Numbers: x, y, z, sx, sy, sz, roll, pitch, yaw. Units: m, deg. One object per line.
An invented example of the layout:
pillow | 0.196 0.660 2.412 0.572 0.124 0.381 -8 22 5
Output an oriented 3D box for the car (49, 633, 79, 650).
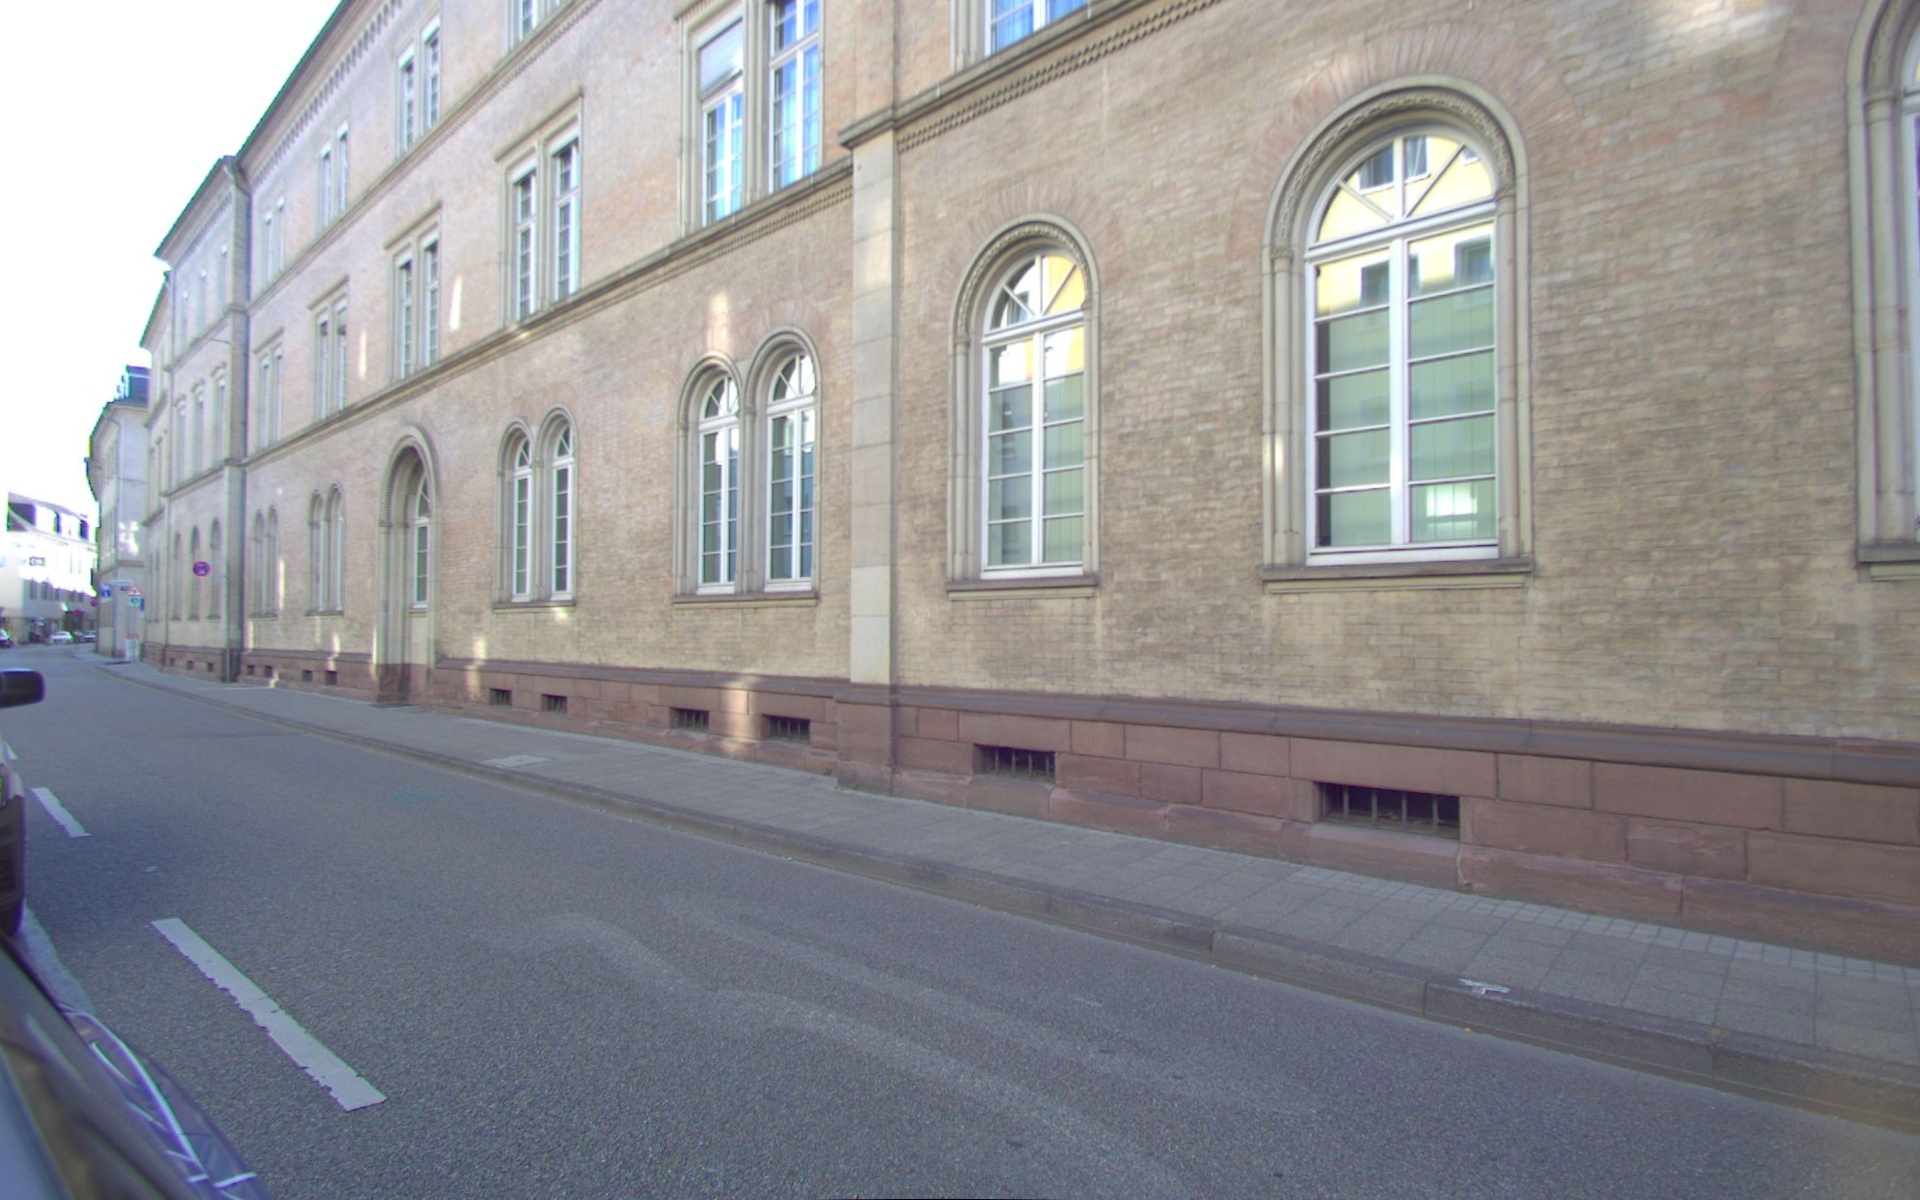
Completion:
car | -102.849 4.746 116.174 1.966 1.665 4.240 -1 0 -33

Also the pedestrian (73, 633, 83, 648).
pedestrian | -98.412 4.519 112.937 0.694 1.648 0.834 5 -4 -36

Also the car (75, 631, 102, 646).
car | -109.223 4.829 126.827 1.966 1.665 4.240 -1 0 -33

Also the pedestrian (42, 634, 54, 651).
pedestrian | -90.540 4.245 100.433 0.694 1.648 0.834 5 -4 -38

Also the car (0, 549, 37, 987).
car | -6.428 0.696 5.308 5.329 1.784 1.747 -1 -2 41

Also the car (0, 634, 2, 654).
car | -86.608 3.944 89.950 1.969 1.665 4.235 -1 0 -41
